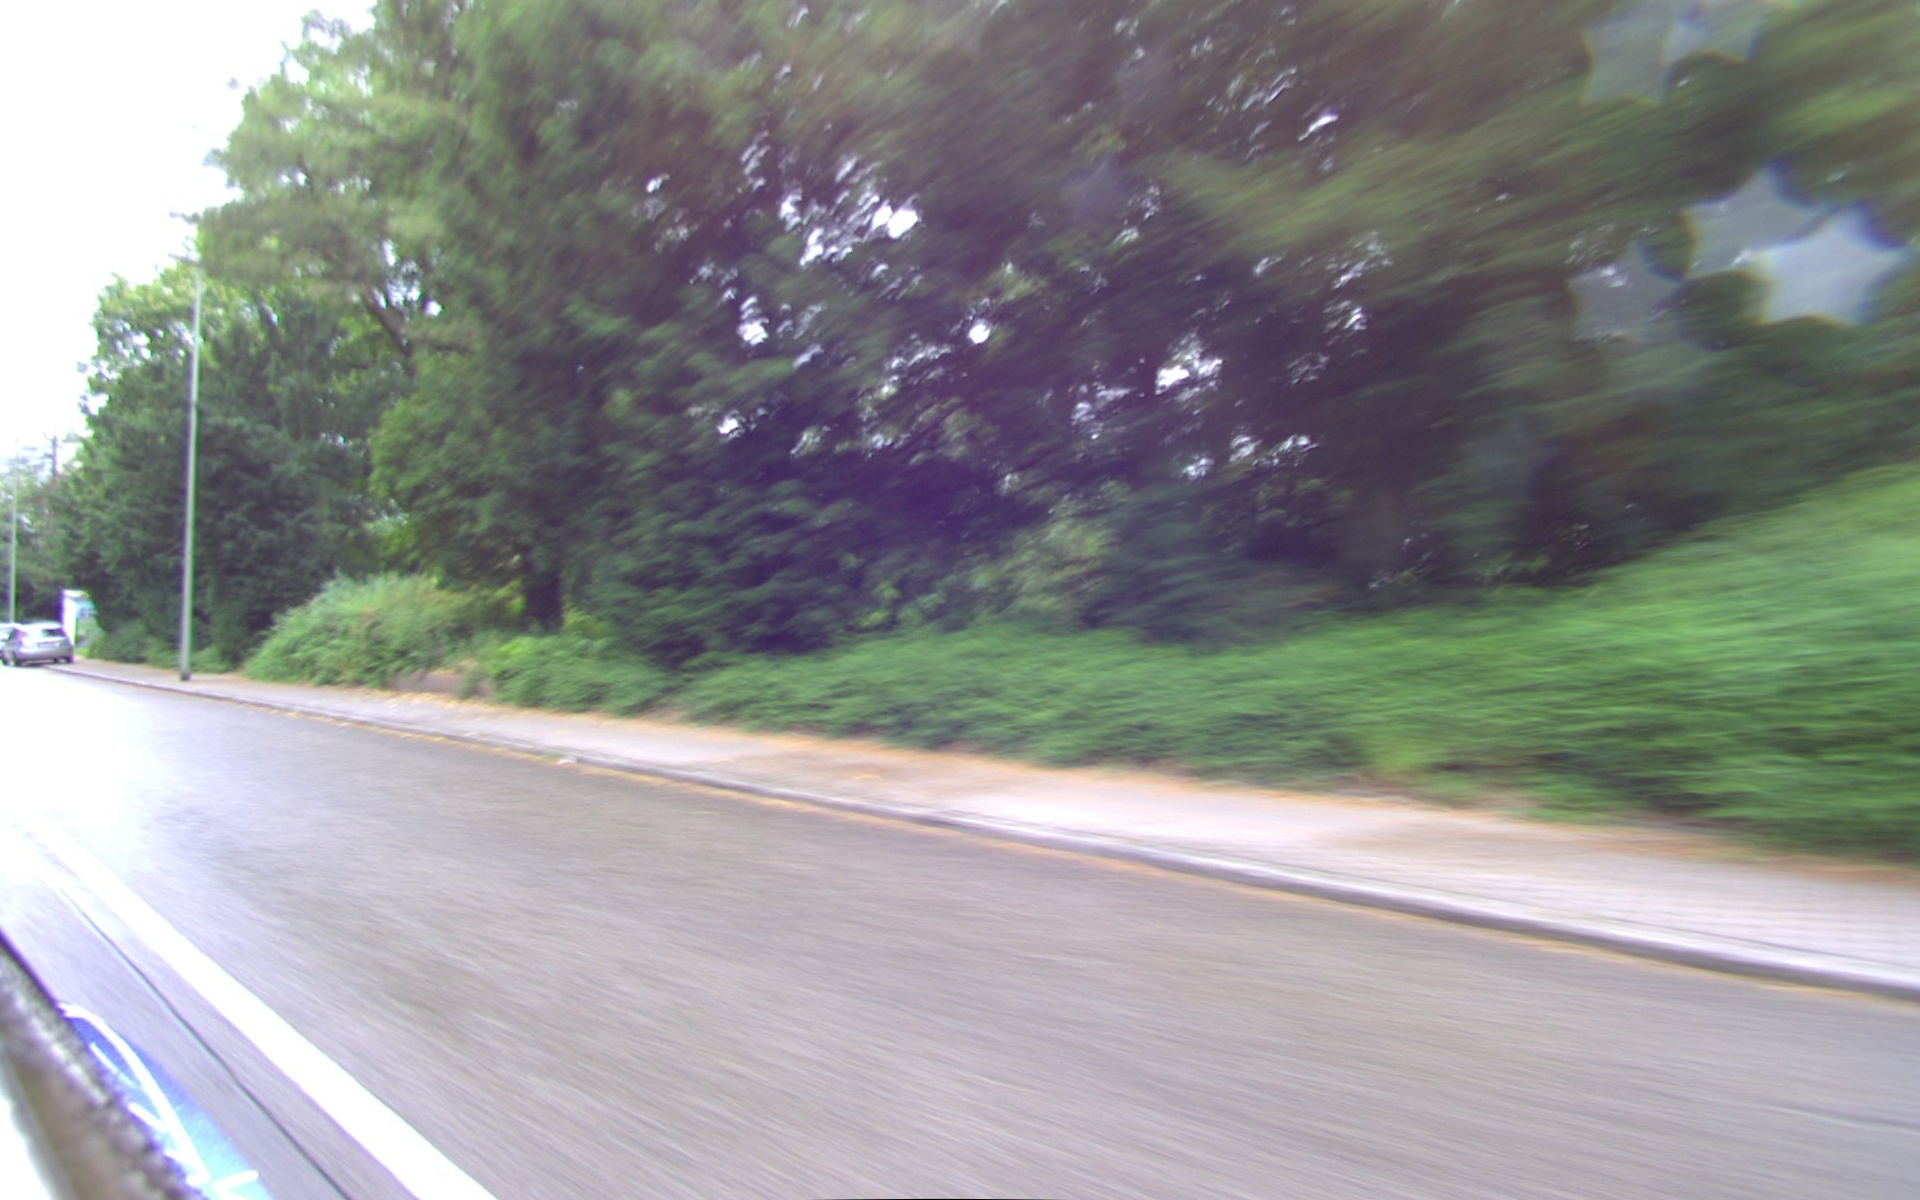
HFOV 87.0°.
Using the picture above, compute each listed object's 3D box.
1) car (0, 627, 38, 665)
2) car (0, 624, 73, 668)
[{"bbox_3d":[-42.684,2.031,45.057,4.237,1.624,1.866,-2,-5,42],"label":"car"},{"bbox_3d":[-34.174,1.659,37.260,3.923,1.510,1.610,-2,0,39],"label":"car"}]
